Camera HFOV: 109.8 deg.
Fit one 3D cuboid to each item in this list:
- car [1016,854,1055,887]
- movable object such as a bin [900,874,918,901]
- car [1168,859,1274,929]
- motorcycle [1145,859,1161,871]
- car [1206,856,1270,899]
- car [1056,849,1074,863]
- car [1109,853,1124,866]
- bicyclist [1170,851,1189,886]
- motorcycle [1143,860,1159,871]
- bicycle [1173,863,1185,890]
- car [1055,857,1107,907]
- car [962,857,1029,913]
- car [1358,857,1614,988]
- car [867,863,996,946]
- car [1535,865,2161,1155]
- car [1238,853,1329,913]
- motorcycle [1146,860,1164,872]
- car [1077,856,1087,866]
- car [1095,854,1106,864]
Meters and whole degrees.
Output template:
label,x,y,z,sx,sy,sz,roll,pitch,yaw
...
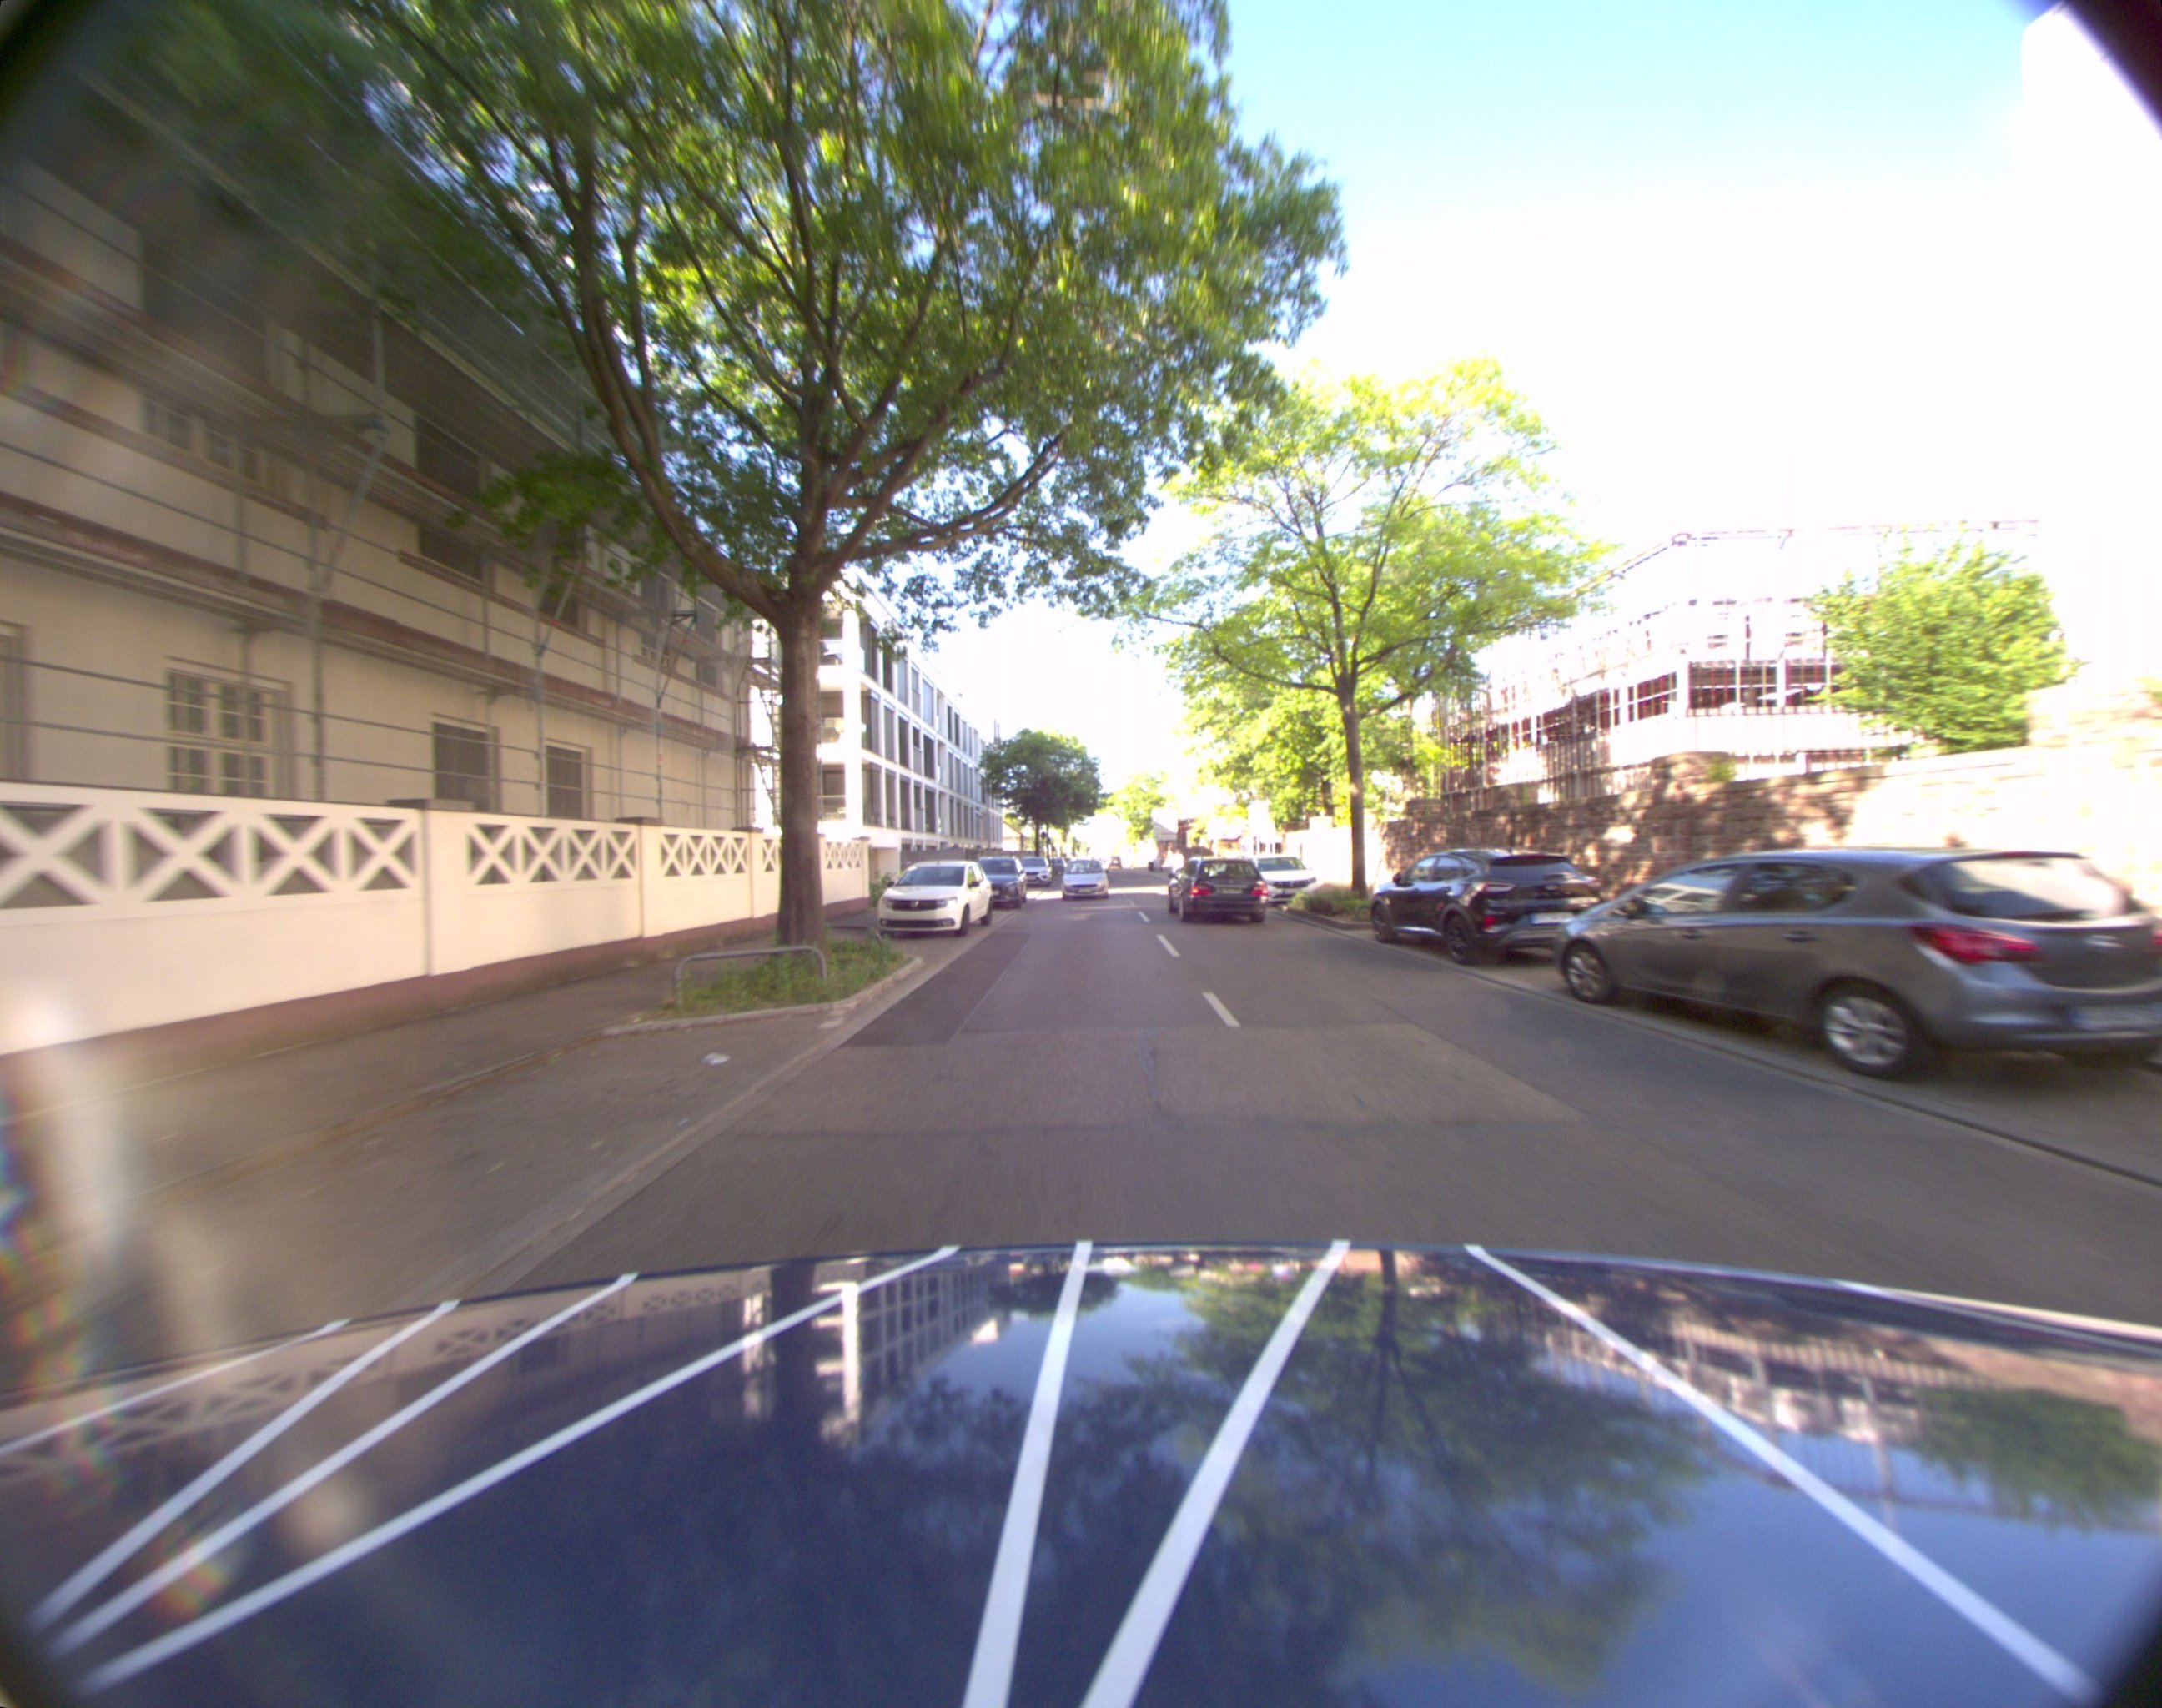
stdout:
label,x,y,z,sx,sy,sz,roll,pitch,yaw
car,-2.414,0.841,40.886,1.797,1.606,4.126,-2,0,0
movable object such as a bin,-6.270,1.217,27.742,0.435,0.958,0.511,-3,1,5
car,3.140,0.843,17.787,1.826,1.427,3.969,1,0,1
motorcycle,6.807,1.019,72.010,0.530,1.033,2.095,-3,0,32
car,5.958,0.840,29.139,1.578,1.394,3.750,-5,0,0
car,-1.956,0.201,91.361,1.887,1.592,4.299,-2,0,2
car,4.363,0.691,94.162,1.648,1.602,4.020,0,0,-1
bicyclist,4.435,0.659,34.420,0.722,1.513,1.005,-3,1,4
motorcycle,6.814,1.099,73.789,0.530,1.033,2.095,-3,0,32
bicycle,4.435,1.002,34.433,0.358,1.114,1.866,-3,0,2
car,0.075,0.992,28.812,1.747,1.613,4.106,-3,0,2
car,-2.719,0.932,24.997,1.716,1.629,4.302,-1,0,-1
car,5.604,0.828,11.139,1.577,1.506,4.044,-2,0,0
car,-3.049,0.971,16.322,1.727,1.501,3.993,0,0,4
car,5.698,0.864,6.034,1.691,1.413,3.837,-3,0,-3
car,5.941,0.794,22.744,1.680,1.502,3.849,-4,0,2
motorcycle,6.709,1.119,69.092,0.599,1.026,2.132,-1,0,35
car,0.173,1.200,130.587,1.757,1.459,3.486,-3,0,0
car,3.487,0.921,138.853,1.834,1.732,4.000,-3,0,1
